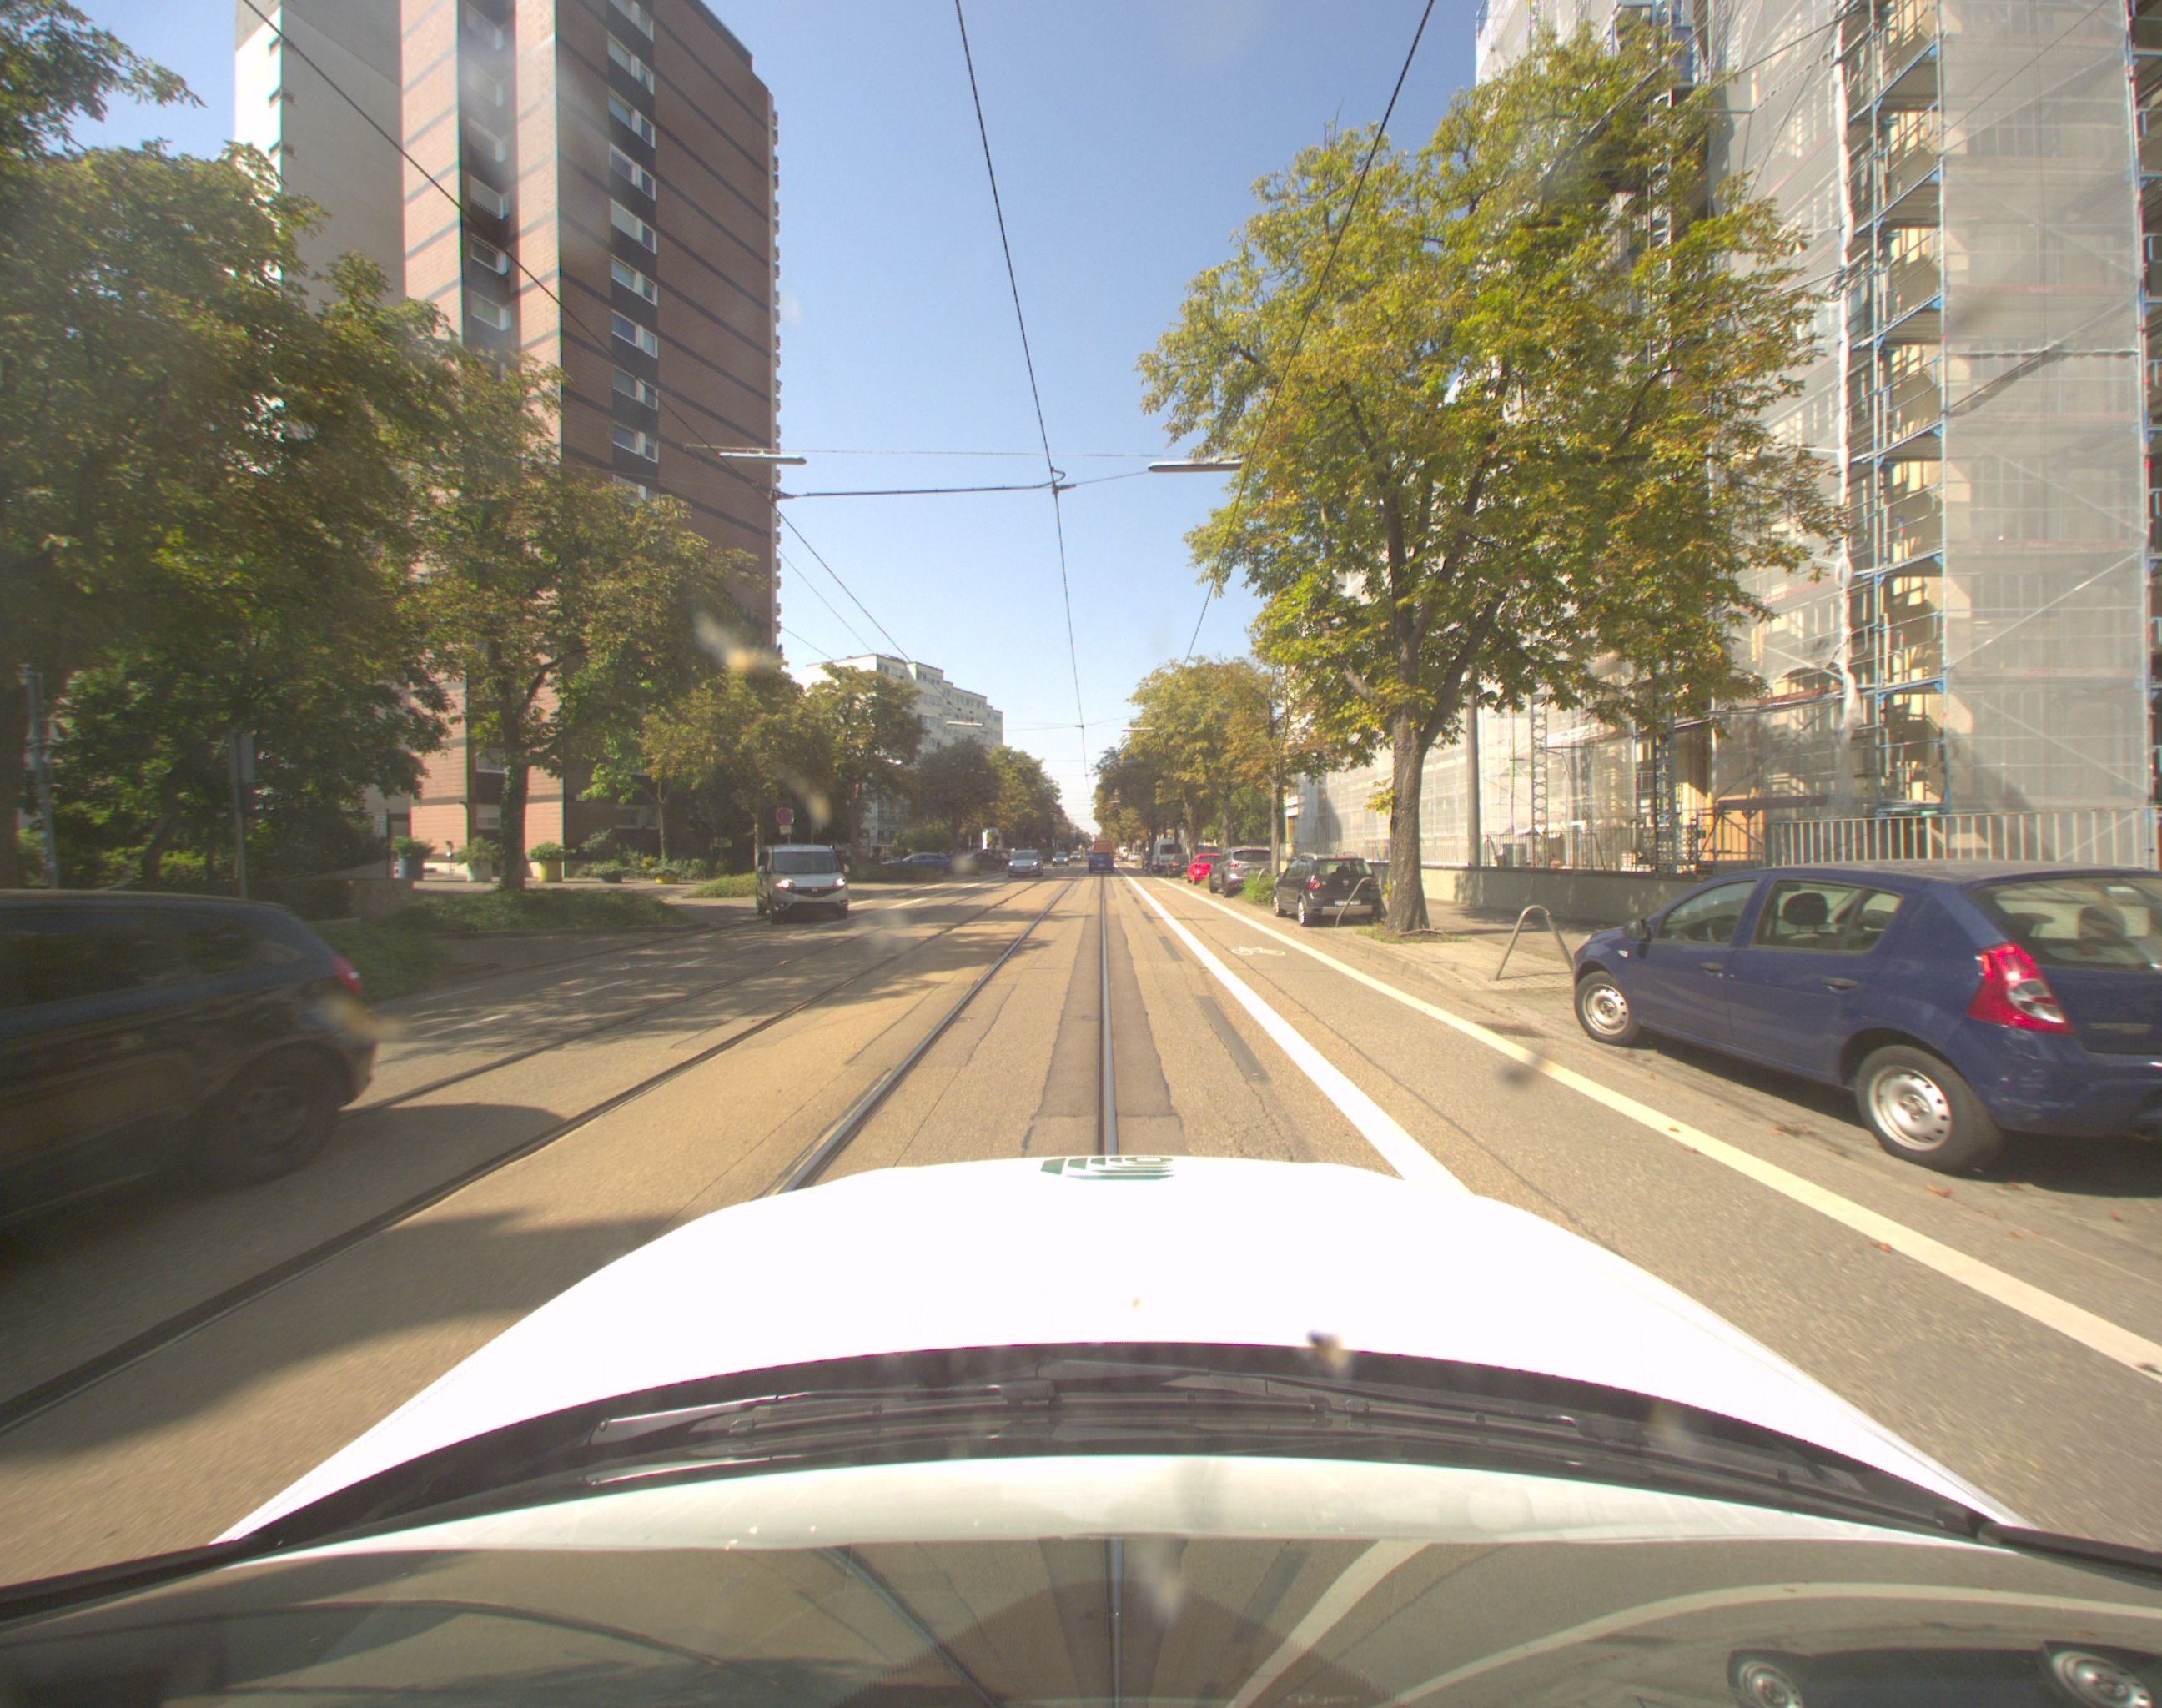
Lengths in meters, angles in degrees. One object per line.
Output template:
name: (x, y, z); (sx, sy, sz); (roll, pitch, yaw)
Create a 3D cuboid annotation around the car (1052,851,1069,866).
car: (-2.217, 0.434, 89.053); (1.628, 1.585, 4.189); (0, 0, 0)

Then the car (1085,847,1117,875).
car: (1.476, 0.452, 58.684); (2.128, 1.858, 5.570); (-1, 0, 2)

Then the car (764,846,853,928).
car: (-6.831, 0.724, 20.167); (1.755, 1.796, 3.969); (0, 0, -24)

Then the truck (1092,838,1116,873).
truck: (2.190, 0.149, 77.249); (2.127, 3.124, 6.087); (-1, 0, 2)

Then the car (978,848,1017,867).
car: (-9.142, 0.328, 89.274); (4.021, 2.013, 1.835); (0, 0, -42)

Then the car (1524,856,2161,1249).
car: (4.918, 0.813, 5.419); (1.736, 1.556, 4.219); (-1, 0, 2)

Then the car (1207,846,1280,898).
car: (5.601, 0.569, 28.611); (1.734, 1.668, 4.362); (0, 0, 0)

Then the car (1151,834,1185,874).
car: (6.324, -0.016, 59.727); (1.987, 2.755, 5.761); (0, 0, 0)

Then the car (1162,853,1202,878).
car: (6.041, 0.638, 49.134); (1.901, 1.431, 4.292); (0, 0, 0)

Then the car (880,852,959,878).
car: (-10.066, 0.671, 50.788); (4.588, 1.552, 1.985); (0, 0, -23)

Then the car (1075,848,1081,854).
car: (-0.796, -0.940, 242.627); (1.741, 1.796, 4.000); (0, 0, 0)

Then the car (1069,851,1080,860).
car: (-1.193, 0.223, 142.777); (1.892, 1.562, 4.122); (0, 0, 0)

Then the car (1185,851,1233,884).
car: (6.077, 0.615, 38.989); (1.734, 1.462, 3.684); (0, 0, 0)

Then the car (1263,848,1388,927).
car: (5.405, 0.665, 18.515); (1.628, 1.585, 4.189); (0, 0, 0)

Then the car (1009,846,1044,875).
car: (-3.270, 0.389, 49.614); (1.774, 1.684, 4.347); (0, 0, 0)

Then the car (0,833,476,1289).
car: (-4.572, 0.727, 2.814); (1.675, 1.571, 4.208); (-1, 0, 2)

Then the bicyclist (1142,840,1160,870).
bicyclist: (4.210, 0.052, 49.311); (1.028, 1.812, 1.016); (0, 0, 1)

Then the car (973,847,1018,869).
car: (-8.249, 0.382, 78.584); (4.021, 2.013, 1.835); (0, 0, -42)

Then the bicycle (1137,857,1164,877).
bicycle: (4.179, 0.741, 49.343); (1.396, 1.134, 4.001); (0, 0, 1)
